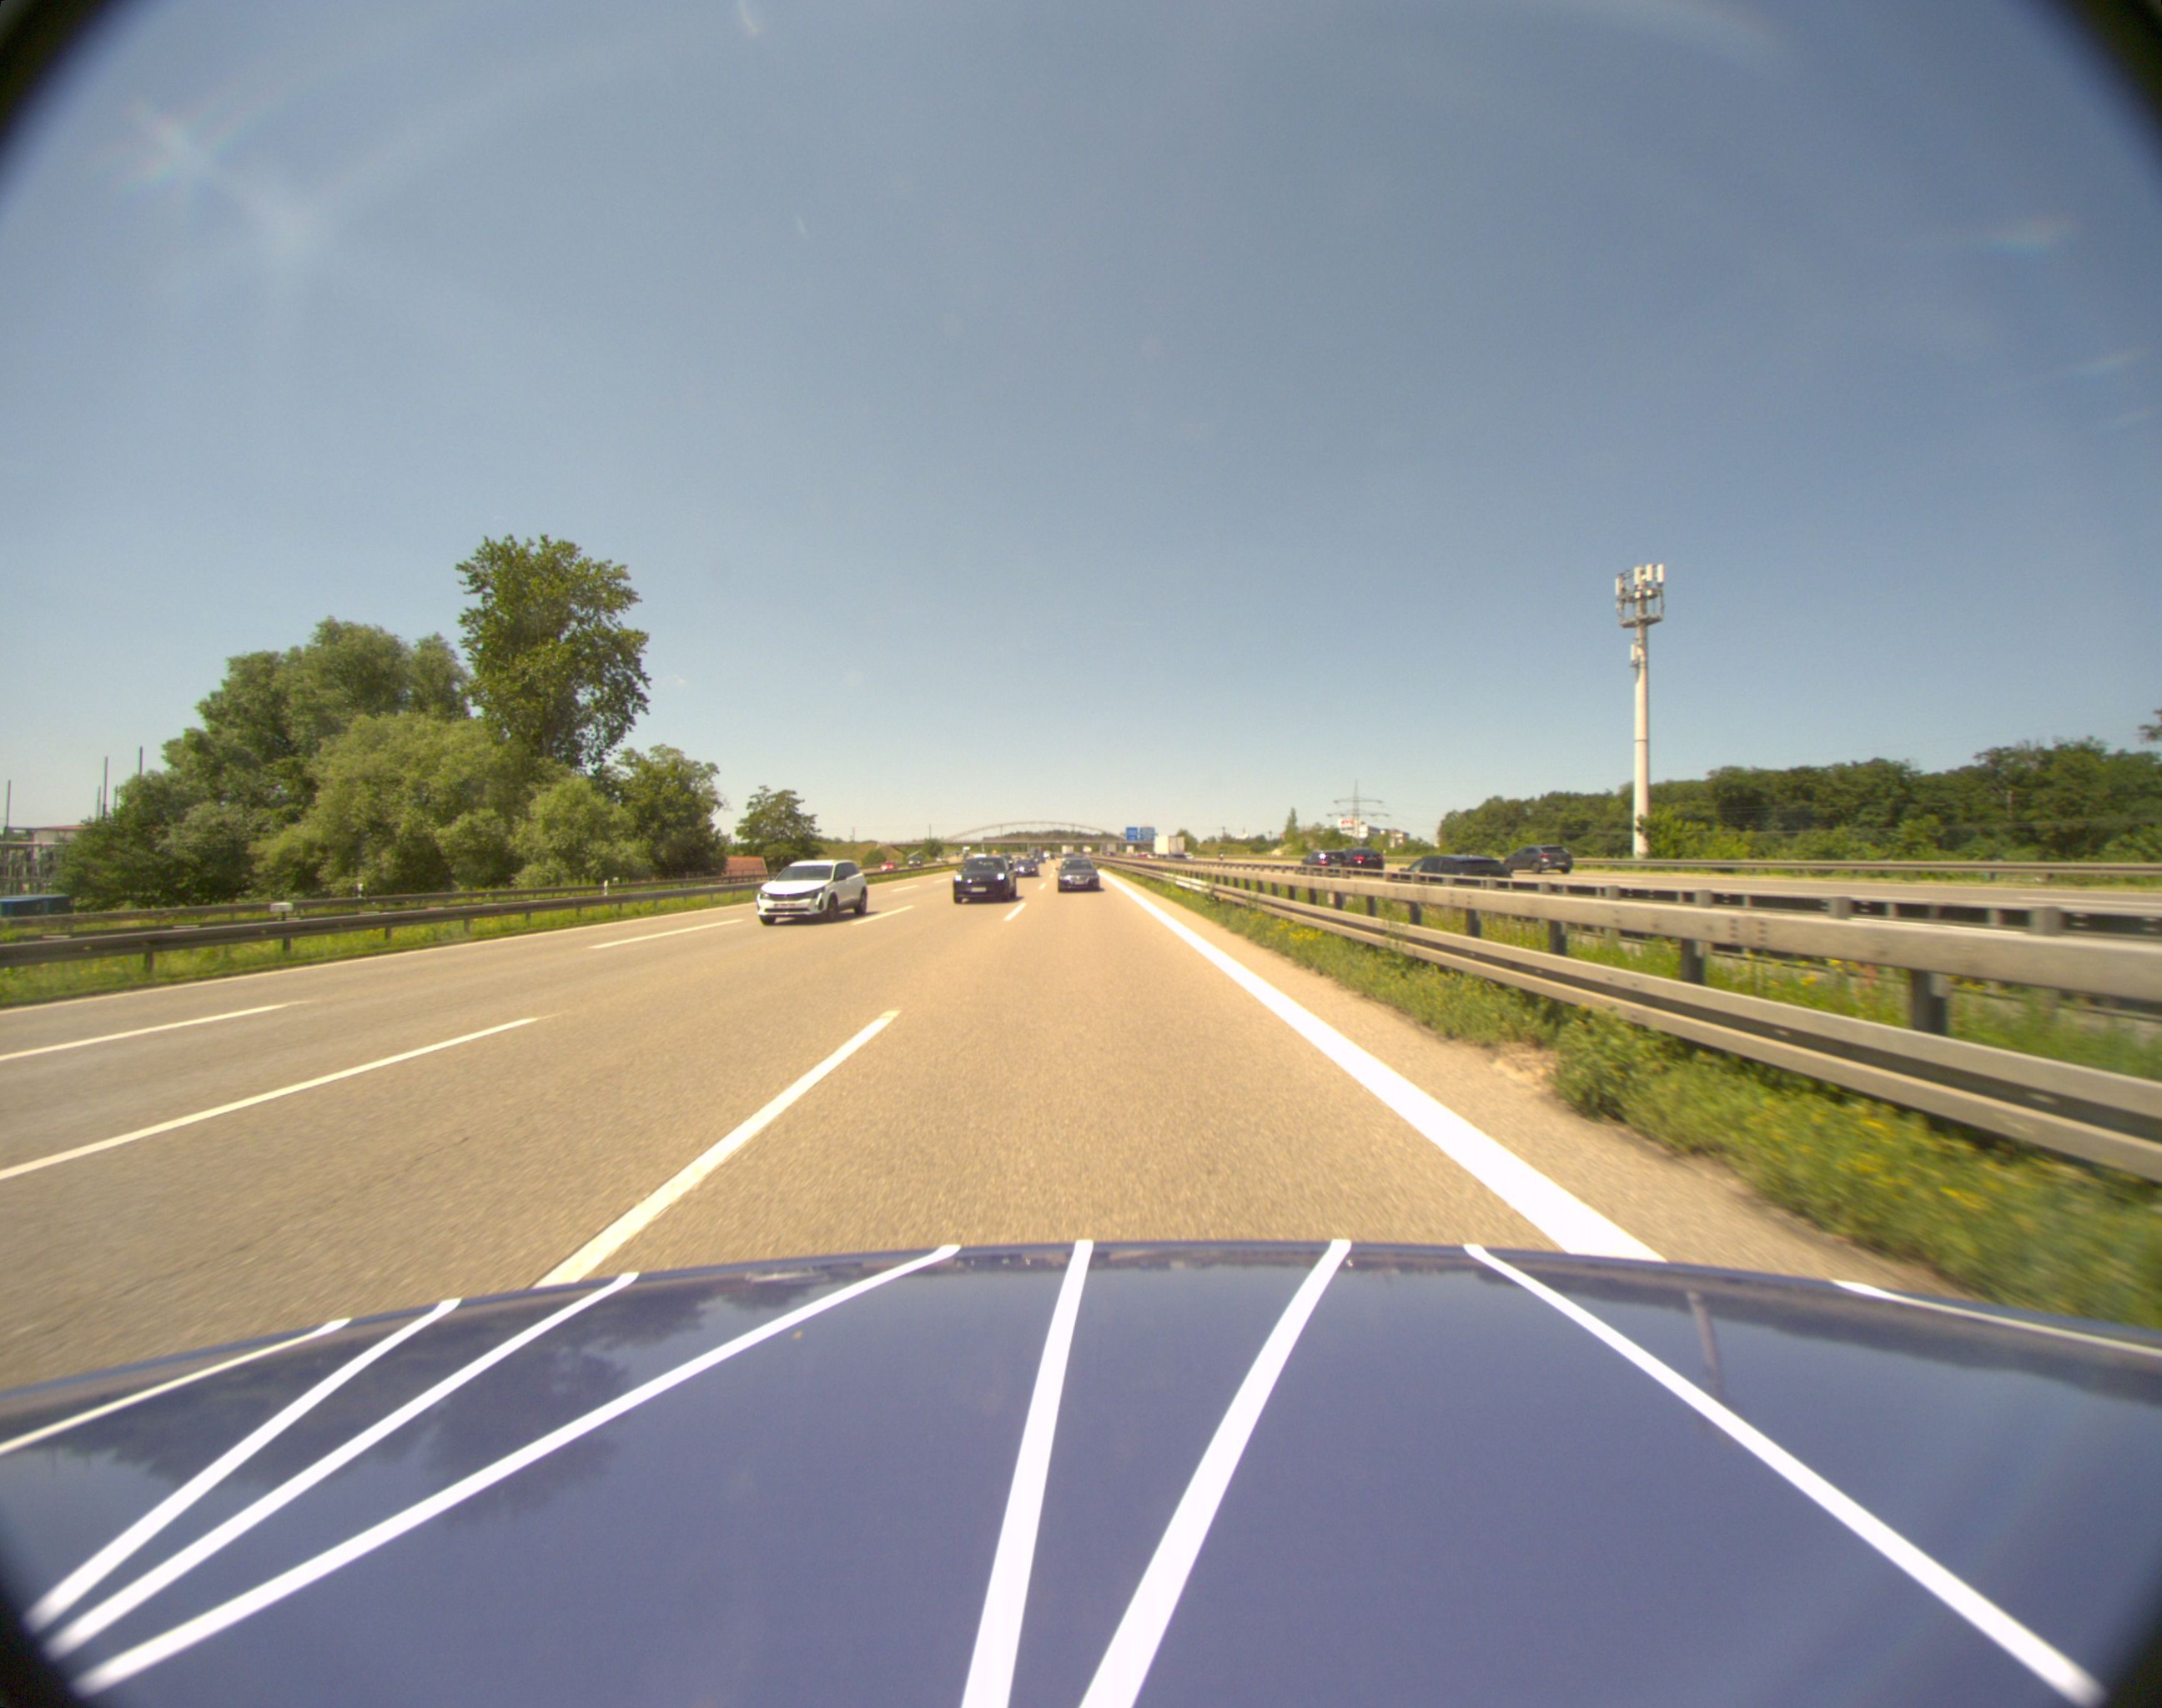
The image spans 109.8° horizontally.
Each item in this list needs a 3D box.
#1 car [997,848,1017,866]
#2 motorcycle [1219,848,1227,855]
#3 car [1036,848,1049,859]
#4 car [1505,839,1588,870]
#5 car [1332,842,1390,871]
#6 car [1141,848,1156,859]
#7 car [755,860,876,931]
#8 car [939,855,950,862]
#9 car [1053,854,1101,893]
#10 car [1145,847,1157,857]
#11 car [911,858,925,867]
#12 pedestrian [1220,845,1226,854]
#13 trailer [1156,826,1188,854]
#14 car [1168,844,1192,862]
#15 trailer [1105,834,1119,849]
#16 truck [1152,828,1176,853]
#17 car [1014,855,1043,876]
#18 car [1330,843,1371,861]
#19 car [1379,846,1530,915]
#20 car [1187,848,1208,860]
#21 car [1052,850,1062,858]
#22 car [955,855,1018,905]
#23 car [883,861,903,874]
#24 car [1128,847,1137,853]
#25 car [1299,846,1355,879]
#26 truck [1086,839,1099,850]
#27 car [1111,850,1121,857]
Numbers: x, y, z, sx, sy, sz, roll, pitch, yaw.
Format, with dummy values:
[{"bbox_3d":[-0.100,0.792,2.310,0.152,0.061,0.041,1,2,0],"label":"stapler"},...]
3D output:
[{"bbox_3d":[-8.618,0.303,88.648,1.808,1.908,4.294,-2,1,0],"label":"car"},{"bbox_3d":[22.052,-0.369,118.212,0.659,1.009,2.487,-2,1,-1],"label":"motorcycle"},{"bbox_3d":[-6.358,-0.092,127.294,1.925,1.762,3.999,-2,1,0],"label":"car"},{"bbox_3d":[25.232,0.000,41.341,1.852,1.523,4.222,-2,1,-1],"label":"car"},{"bbox_3d":[17.057,0.136,46.557,1.851,1.646,4.910,-2,1,2],"label":"car"},{"bbox_3d":[9.076,-0.107,102.064,1.661,1.416,4.775,-2,1,1],"label":"car"},{"bbox_3d":[-7.188,1.047,21.086,1.748,1.582,4.618,-2,1,-1],"label":"car"},{"bbox_3d":[-31.262,1.044,174.164,1.704,1.566,4.126,-2,1,-2],"label":"car"},{"bbox_3d":[-0.096,0.827,33.896,1.931,1.499,4.391,-1,1,2],"label":"car"},{"bbox_3d":[11.591,-0.317,125.797,1.746,1.480,4.007,-2,1,1],"label":"car"},{"bbox_3d":[-28.230,1.468,131.762,1.704,1.566,4.126,-2,1,-2],"label":"car"},{"bbox_3d":[22.053,-0.721,118.267,0.652,1.309,1.035,-2,1,-1],"label":"pedestrian"},{"bbox_3d":[14.821,-2.254,125.144,3.043,4.216,12.243,-2,1,-3],"label":"trailer"},{"bbox_3d":[9.131,-0.111,70.292,1.679,1.605,4.361,-2,1,1],"label":"car"},{"bbox_3d":[8.658,-3.370,212.442,2.898,4.089,12.581,-2,1,-2],"label":"trailer"},{"bbox_3d":[14.461,-2.381,132.827,3.043,4.216,6.682,-2,1,-2],"label":"truck"},{"bbox_3d":[-3.922,0.821,57.521,1.932,1.390,4.116,-2,1,-1],"label":"car"},{"bbox_3d":[24.336,-0.166,68.775,2.110,1.523,4.371,-2,1,0],"label":"car"},{"bbox_3d":[10.074,0.635,20.964,1.752,1.616,4.830,-2,1,0],"label":"car"},{"bbox_3d":[13.639,-0.010,89.146,1.661,1.395,4.758,-2,1,1],"label":"car"},{"bbox_3d":[-5.676,0.057,180.561,1.999,1.849,3.997,-2,1,-5],"label":"car"},{"bbox_3d":[-3.361,0.878,27.776,1.932,1.586,4.130,-2,1,-2],"label":"car"},{"bbox_3d":[-25.691,1.825,103.876,1.704,1.566,4.126,-2,1,-2],"label":"car"},{"bbox_3d":[14.786,-1.033,217.996,1.883,1.604,3.999,-2,0,-3],"label":"car"},{"bbox_3d":[13.012,0.387,40.475,1.679,1.616,4.085,-2,1,1],"label":"car"},{"bbox_3d":[4.055,-3.412,267.634,3.228,3.764,12.894,-2,1,-4],"label":"truck"},{"bbox_3d":[8.418,-0.142,181.737,1.999,1.635,4.662,-1,0,-2],"label":"car"}]
